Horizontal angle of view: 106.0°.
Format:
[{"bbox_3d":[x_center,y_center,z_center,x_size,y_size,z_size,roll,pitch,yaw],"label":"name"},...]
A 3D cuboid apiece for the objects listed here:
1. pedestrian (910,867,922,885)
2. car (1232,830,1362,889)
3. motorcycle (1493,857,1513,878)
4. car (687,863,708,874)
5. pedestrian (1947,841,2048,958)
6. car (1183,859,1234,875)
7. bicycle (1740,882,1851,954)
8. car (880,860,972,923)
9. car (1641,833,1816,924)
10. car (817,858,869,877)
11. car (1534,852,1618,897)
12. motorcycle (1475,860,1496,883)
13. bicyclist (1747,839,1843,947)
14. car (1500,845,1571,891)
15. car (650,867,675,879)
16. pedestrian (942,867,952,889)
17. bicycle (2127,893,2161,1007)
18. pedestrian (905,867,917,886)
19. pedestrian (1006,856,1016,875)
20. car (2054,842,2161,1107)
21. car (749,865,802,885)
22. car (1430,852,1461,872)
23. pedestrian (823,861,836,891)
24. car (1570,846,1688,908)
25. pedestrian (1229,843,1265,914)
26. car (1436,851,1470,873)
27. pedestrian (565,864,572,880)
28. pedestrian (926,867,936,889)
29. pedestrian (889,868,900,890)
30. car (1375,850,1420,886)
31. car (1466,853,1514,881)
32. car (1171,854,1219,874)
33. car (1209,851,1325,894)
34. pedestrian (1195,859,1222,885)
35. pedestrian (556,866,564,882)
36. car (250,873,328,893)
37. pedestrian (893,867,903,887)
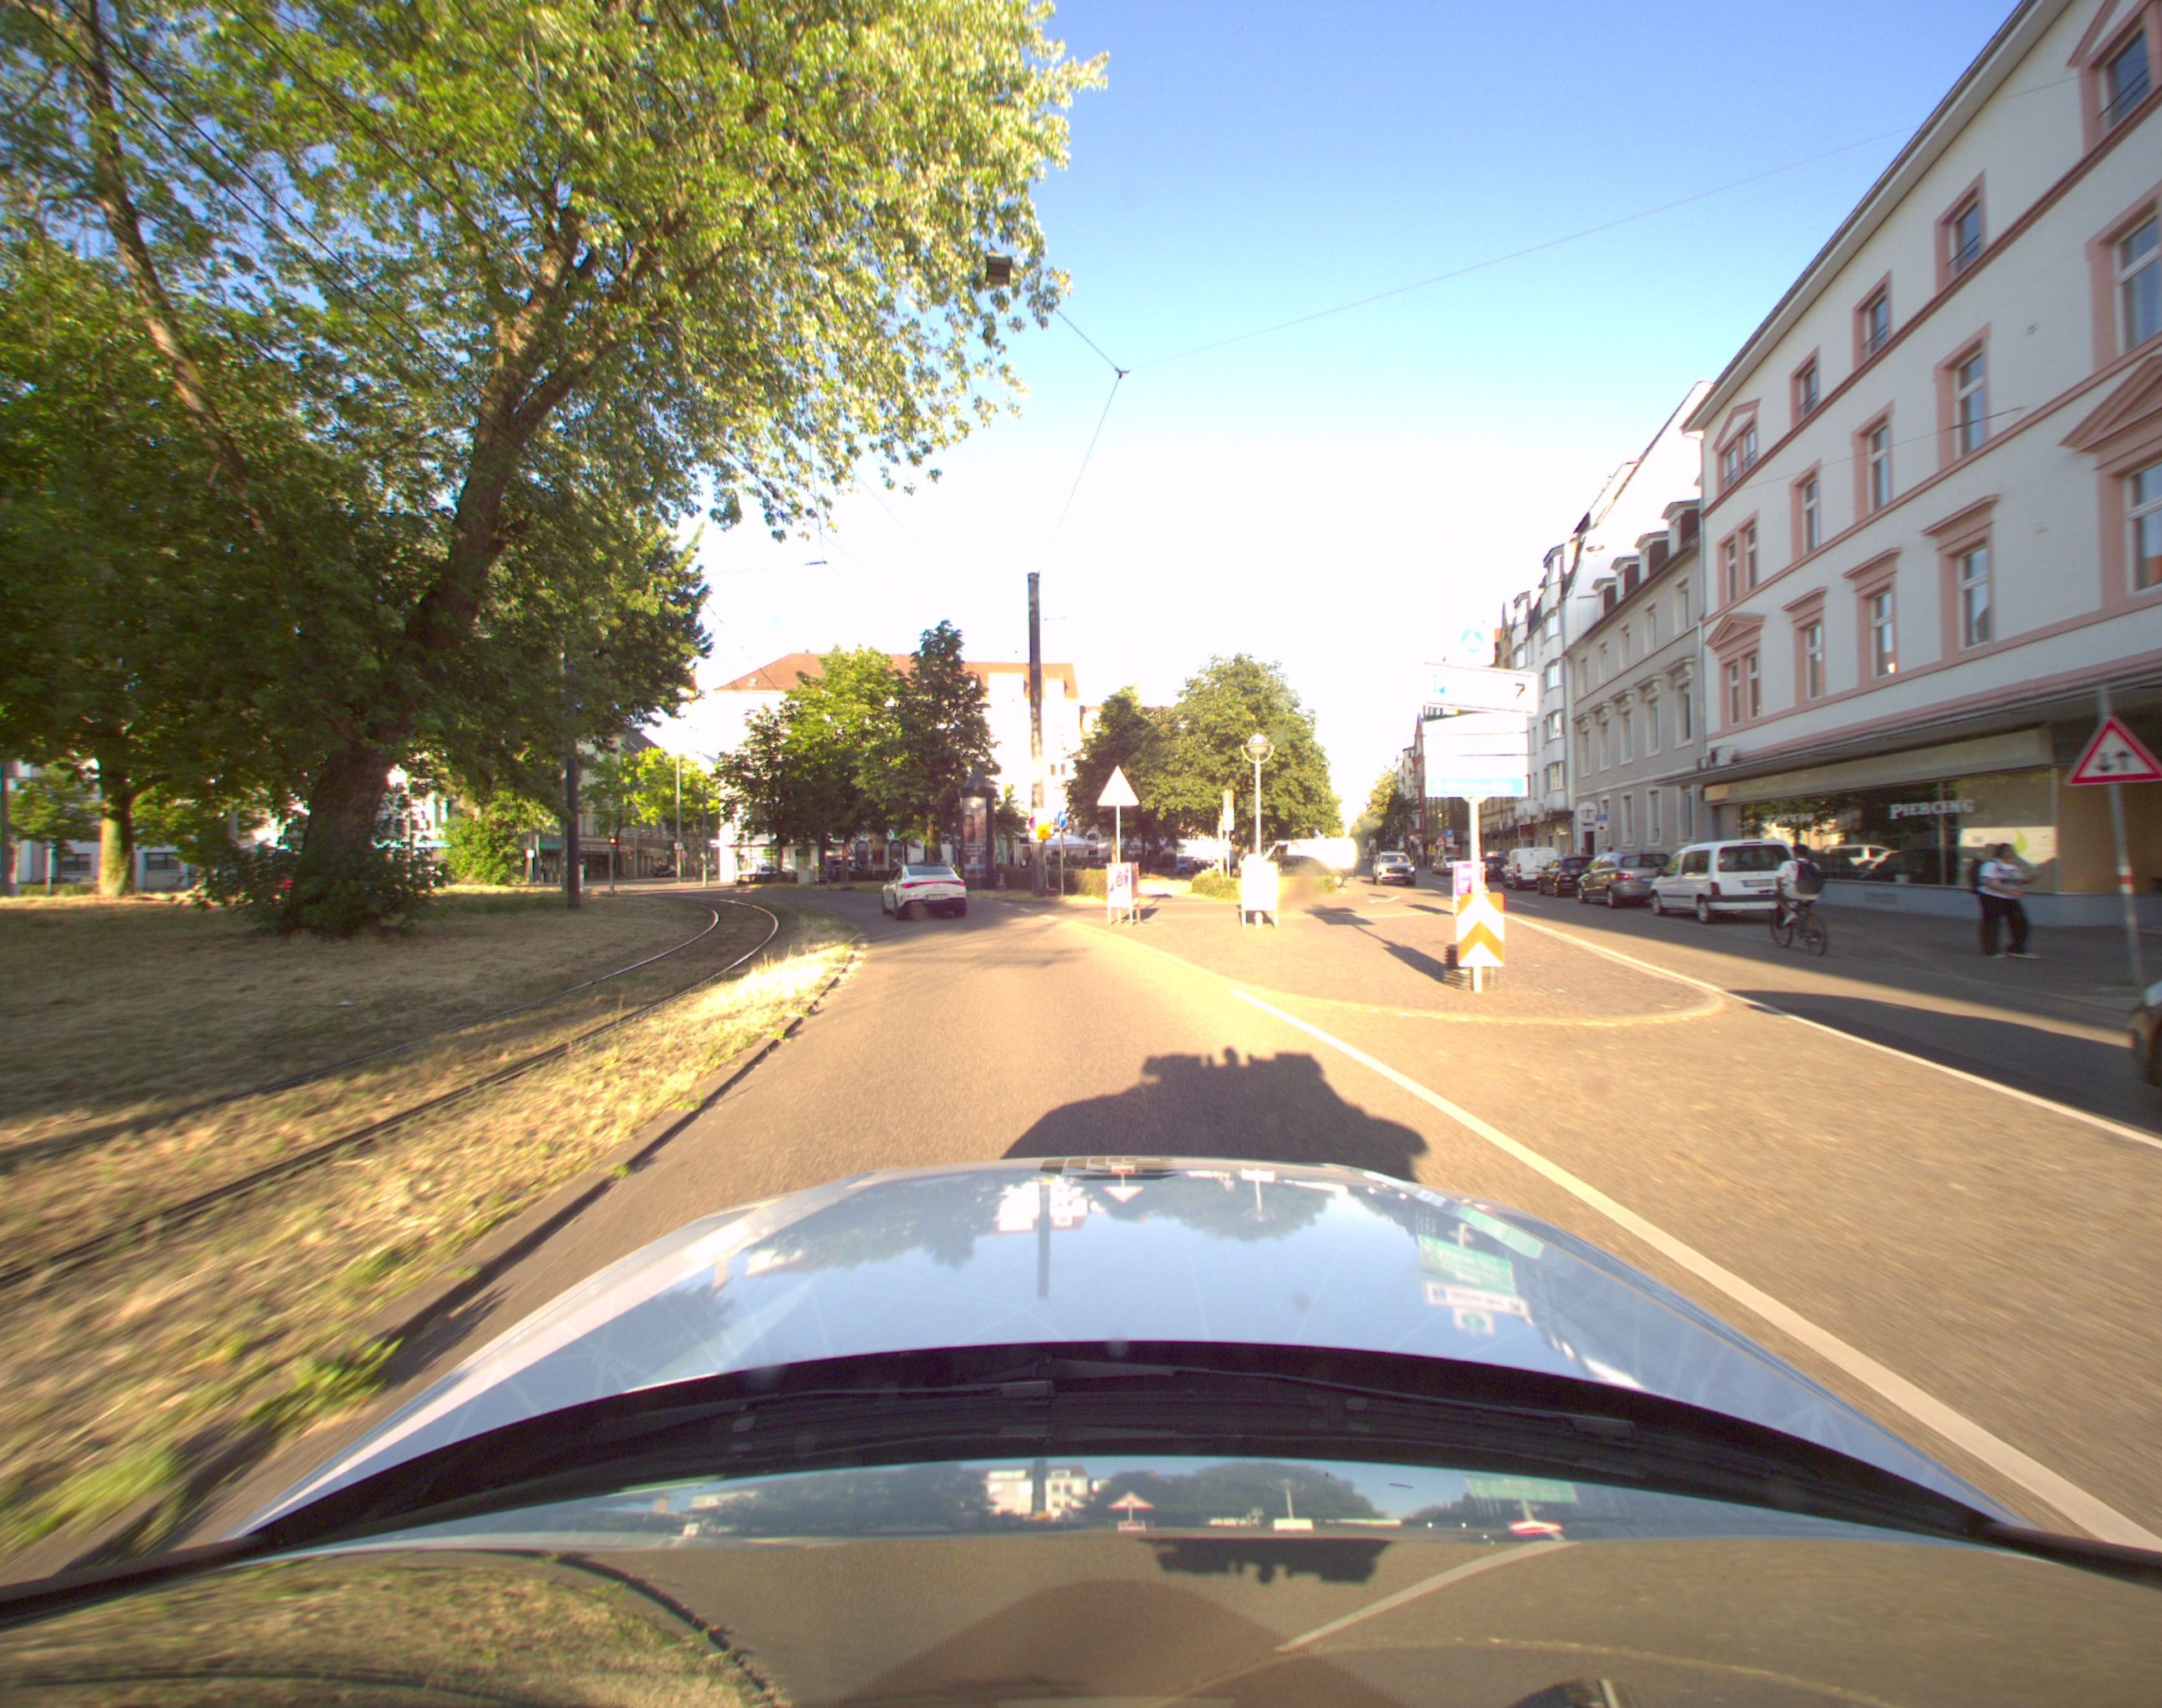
[{"bbox_3d":[-12.069,1.606,59.693,0.663,1.352,0.661,-1,0,5],"label":"pedestrian"},{"bbox_3d":[10.070,0.226,38.112,5.510,2.594,2.148,-1,0,-10],"label":"car"},{"bbox_3d":[22.853,0.725,44.138,0.483,1.043,1.840,-4,0,13],"label":"motorcycle"},{"bbox_3d":[-56.021,2.131,119.031,1.654,1.477,3.618,-1,0,-5],"label":"car"},{"bbox_3d":[12.694,0.610,11.302,0.625,1.555,0.742,-1,0,19],"label":"pedestrian"},{"bbox_3d":[10.808,1.116,69.323,3.982,1.301,1.849,-1,0,-6],"label":"car"},{"bbox_3d":[11.296,0.976,12.949,0.574,0.987,1.944,0,0,17],"label":"bicycle"},{"bbox_3d":[-4.313,0.932,22.202,1.871,1.441,4.170,-2,1,-19],"label":"car"},{"bbox_3d":[14.491,0.504,18.505,1.721,1.800,3.934,-3,-1,17],"label":"car"},{"bbox_3d":[-20.501,1.186,70.179,3.981,1.552,1.996,-1,0,-6],"label":"car"},{"bbox_3d":[17.929,0.711,29.679,1.721,1.462,3.601,-3,-1,17],"label":"car"},{"bbox_3d":[22.181,0.969,44.677,0.483,1.174,1.612,-4,0,10],"label":"motorcycle"},{"bbox_3d":[11.204,0.586,12.821,0.771,1.618,1.029,0,0,16],"label":"bicyclist"},{"bbox_3d":[19.811,0.572,35.706,1.910,1.841,4.036,-3,-1,18],"label":"car"},{"bbox_3d":[-54.968,2.479,107.016,1.655,1.477,3.616,-1,0,-7],"label":"car"},{"bbox_3d":[-9.218,1.644,56.057,0.531,1.549,0.661,-1,0,5],"label":"pedestrian"},{"bbox_3d":[11.091,0.896,7.414,0.584,1.045,1.830,-3,0,-43],"label":"bicycle"},{"bbox_3d":[-12.279,1.608,58.866,0.663,1.352,0.661,-1,0,5],"label":"pedestrian"},{"bbox_3d":[-7.111,1.189,82.624,0.854,1.866,0.933,-1,0,-9],"label":"pedestrian"},{"bbox_3d":[6.392,0.664,2.922,1.734,1.461,4.121,-1,0,16],"label":"car"},{"bbox_3d":[-24.205,1.654,64.669,3.608,1.552,1.659,-1,0,-6],"label":"car"},{"bbox_3d":[28.954,0.623,64.811,1.738,1.511,3.560,-3,-1,16],"label":"car"},{"bbox_3d":[-13.202,1.157,42.769,0.563,1.566,0.589,0,0,-28],"label":"pedestrian"},{"bbox_3d":[15.872,0.630,23.818,1.721,1.617,3.934,-3,-1,17],"label":"car"},{"bbox_3d":[4.137,0.596,20.315,0.854,1.706,0.944,0,0,11],"label":"pedestrian"},{"bbox_3d":[27.759,0.571,60.884,1.738,1.511,3.560,-3,-1,16],"label":"car"},{"bbox_3d":[-55.245,1.961,87.829,0.478,1.701,0.540,-1,0,-6],"label":"pedestrian"},{"bbox_3d":[-10.186,1.644,55.319,0.531,1.497,0.661,-1,0,5],"label":"pedestrian"},{"bbox_3d":[-12.805,1.724,55.807,0.531,1.497,0.661,-1,0,5],"label":"pedestrian"},{"bbox_3d":[16.720,0.729,43.180,1.978,1.772,4.018,-1,0,17],"label":"car"},{"bbox_3d":[23.856,0.743,47.647,1.738,1.511,3.991,-3,-1,16],"label":"car"},{"bbox_3d":[10.391,0.927,74.497,3.982,1.782,1.849,-1,0,-6],"label":"car"},{"bbox_3d":[7.211,0.690,31.603,3.995,1.552,1.868,-1,0,-16],"label":"car"},{"bbox_3d":[6.213,0.871,39.794,1.097,1.226,0.857,0,0,-9],"label":"pedestrian"},{"bbox_3d":[-56.150,2.120,87.813,0.478,1.701,0.540,-1,0,-6],"label":"pedestrian"},{"bbox_3d":[-62.860,2.310,64.682,3.982,1.464,1.996,-1,0,-7],"label":"car"},{"bbox_3d":[-12.911,1.631,57.478,0.531,1.379,0.661,-1,0,5],"label":"pedestrian"}]
